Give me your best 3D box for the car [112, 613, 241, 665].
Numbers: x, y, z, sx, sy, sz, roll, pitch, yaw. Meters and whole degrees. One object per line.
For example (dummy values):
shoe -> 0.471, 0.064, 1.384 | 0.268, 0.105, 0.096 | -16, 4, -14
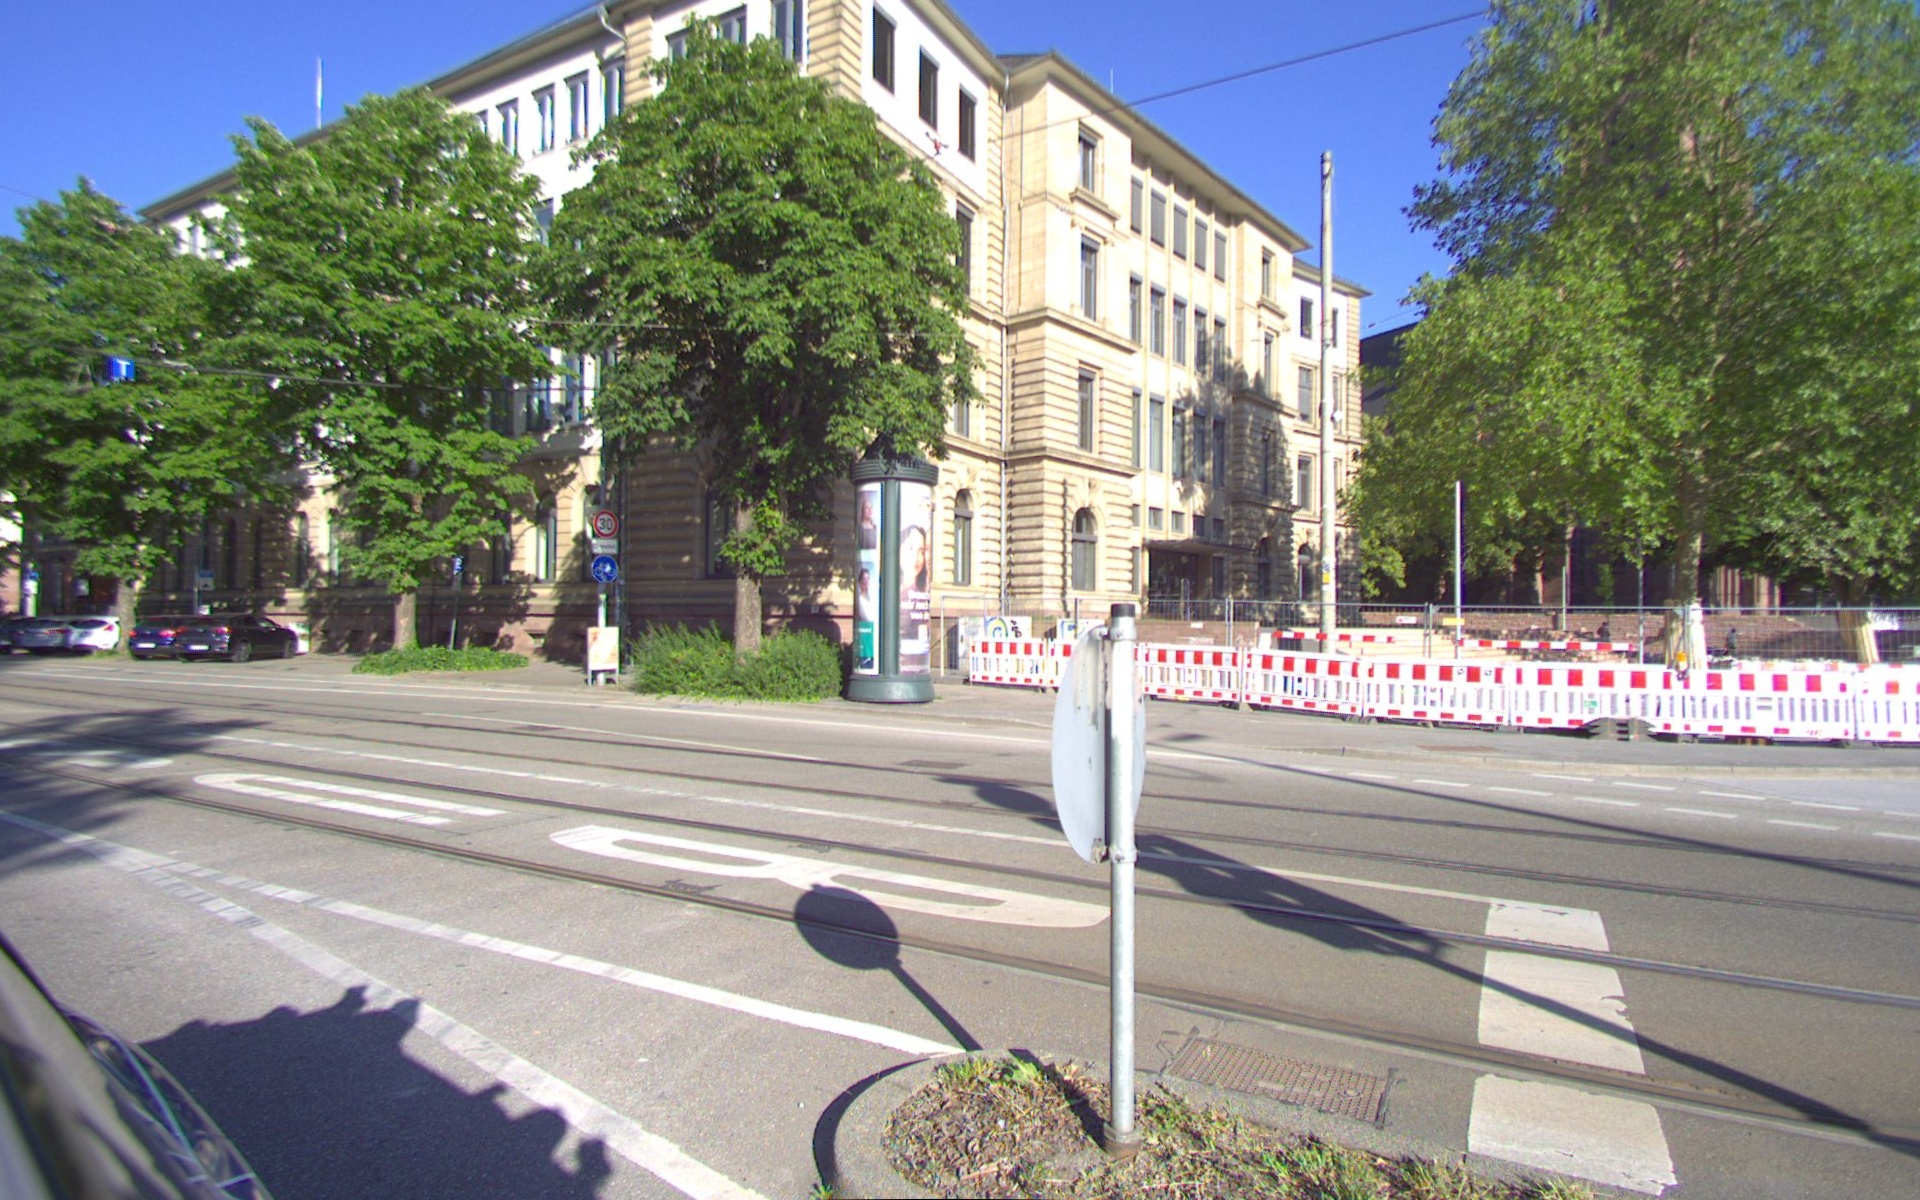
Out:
car -> -26.244, 1.273, 34.037 | 1.626, 1.572, 3.652 | -1, 0, -3

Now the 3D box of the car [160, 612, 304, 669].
car -> -23.614, 1.263, 33.036 | 1.819, 1.643, 4.184 | -1, 0, -3

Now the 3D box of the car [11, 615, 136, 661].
car -> -33.228, 1.394, 38.065 | 1.626, 1.572, 3.652 | -1, 0, -3

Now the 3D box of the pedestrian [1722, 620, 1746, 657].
pedestrian -> 35.093, 1.750, 45.864 | 0.666, 1.660, 0.762 | 1, -2, -45

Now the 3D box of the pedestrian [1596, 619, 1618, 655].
pedestrian -> 30.554, 1.729, 47.762 | 0.627, 1.660, 0.677 | 1, -2, -37

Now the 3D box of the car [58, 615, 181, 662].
car -> -30.915, 1.376, 37.354 | 1.626, 1.572, 3.652 | -1, 0, -3

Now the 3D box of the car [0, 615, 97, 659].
car -> -36.244, 1.416, 39.773 | 1.626, 1.572, 3.652 | -1, 0, -3
